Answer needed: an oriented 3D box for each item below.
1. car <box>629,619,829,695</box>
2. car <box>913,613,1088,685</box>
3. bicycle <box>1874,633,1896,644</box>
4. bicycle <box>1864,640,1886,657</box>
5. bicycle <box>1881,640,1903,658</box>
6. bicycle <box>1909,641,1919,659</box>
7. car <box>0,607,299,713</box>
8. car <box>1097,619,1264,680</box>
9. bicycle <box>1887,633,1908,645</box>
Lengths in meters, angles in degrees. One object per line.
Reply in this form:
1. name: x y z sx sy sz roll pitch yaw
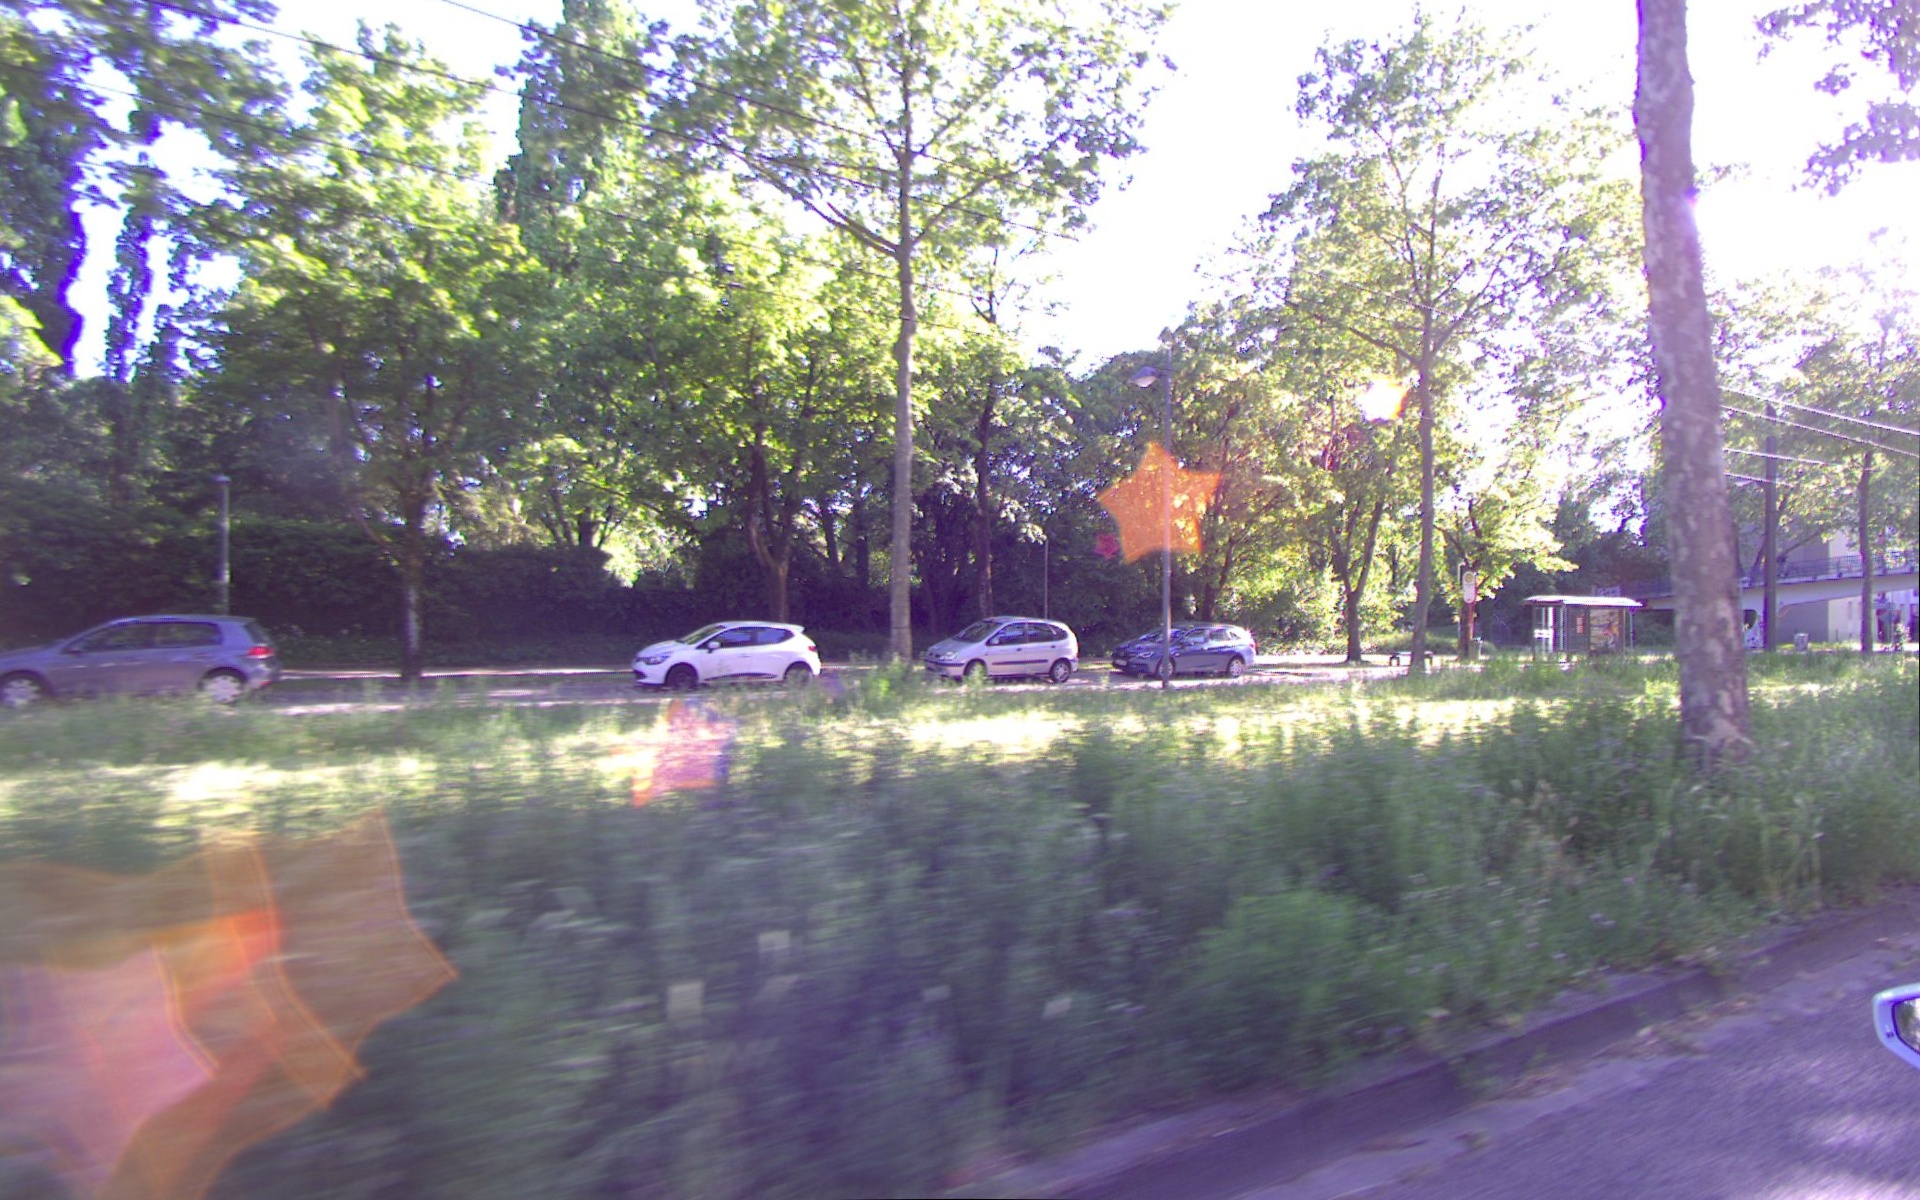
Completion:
1. car: -5.072 1.212 22.170 3.975 1.438 1.711 1 2 -29
2. car: 1.072 1.249 25.905 4.139 1.618 1.807 2 2 -29
3. bicycle: 79.311 3.293 86.127 2.566 0.940 0.691 0 1 -32
4. bicycle: 54.761 2.887 60.110 1.665 1.022 0.432 1 0 -29
5. bicycle: 55.929 2.923 60.285 1.665 1.022 0.432 1 0 -29
6. bicycle: 56.169 2.923 58.785 1.665 1.022 0.432 1 0 -29
7. car: -13.792 0.967 17.089 4.132 1.508 1.828 1 2 -32
8. car: 6.395 1.418 28.976 4.572 1.508 1.889 2 2 -29
9. bicycle: 79.689 3.300 85.381 2.566 0.940 0.691 0 1 -32
